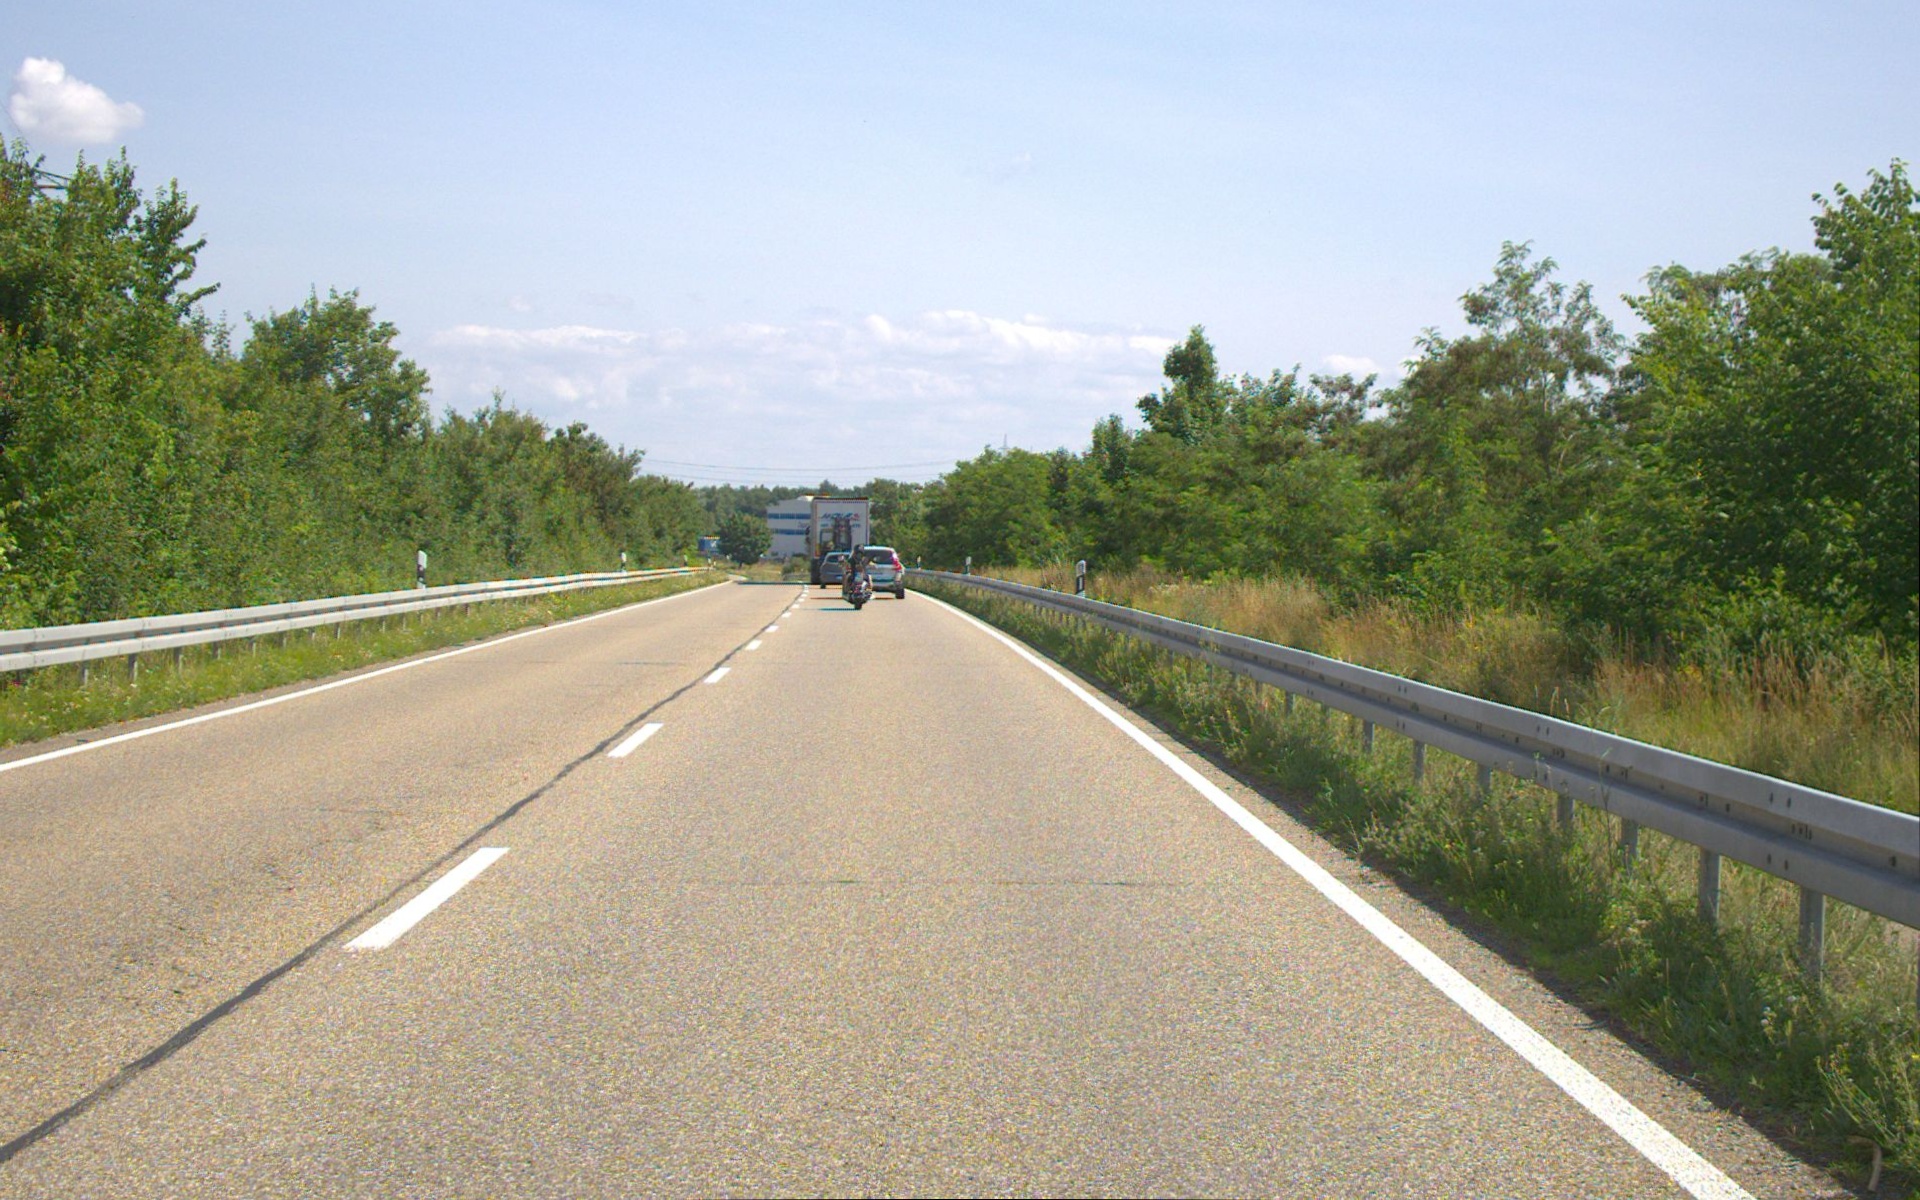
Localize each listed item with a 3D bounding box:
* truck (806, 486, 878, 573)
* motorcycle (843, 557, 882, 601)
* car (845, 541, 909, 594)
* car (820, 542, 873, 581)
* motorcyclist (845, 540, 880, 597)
[{"bbox_3d":[-5.581,-3.350,162.137,3.241,3.965,9.445,1,1,-2],"label":"truck"},{"bbox_3d":[-2.328,-0.509,81.933,0.780,0.972,2.361,1,2,2],"label":"motorcycle"},{"bbox_3d":[-2.483,-0.984,102.143,1.825,1.446,4.001,1,2,-2],"label":"car"},{"bbox_3d":[-4.458,-1.510,135.415,1.866,1.415,4.000,1,2,1],"label":"car"},{"bbox_3d":[-2.327,-0.762,81.945,0.780,1.321,0.813,1,2,2],"label":"motorcyclist"}]
